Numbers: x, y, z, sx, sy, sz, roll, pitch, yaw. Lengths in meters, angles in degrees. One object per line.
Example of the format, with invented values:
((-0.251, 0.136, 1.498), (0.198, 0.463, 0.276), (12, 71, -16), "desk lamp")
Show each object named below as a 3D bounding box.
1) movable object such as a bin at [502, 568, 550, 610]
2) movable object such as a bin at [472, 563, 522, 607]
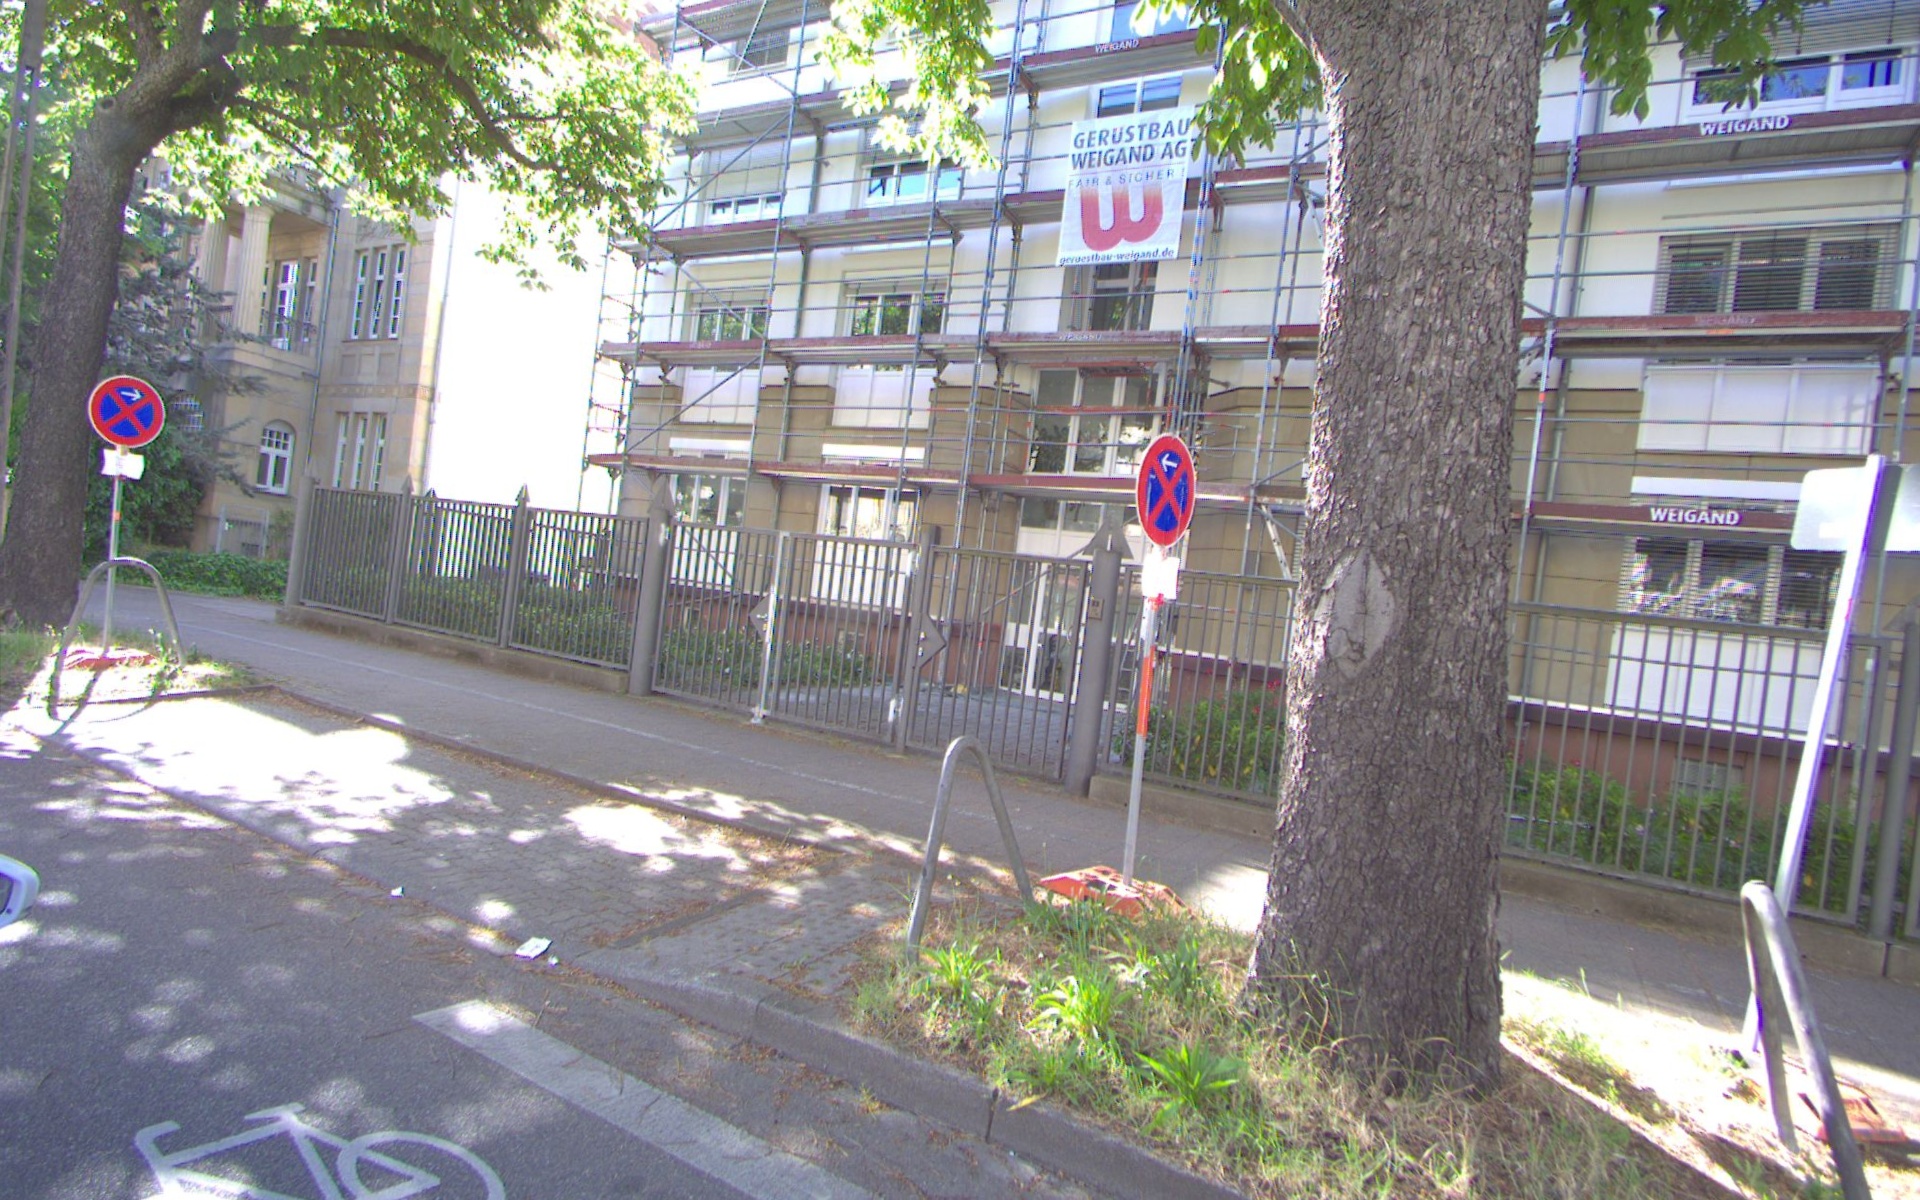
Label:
((-11.294, -0.283, 26.200), (0.637, 0.966, 0.835), (6, -2, 30), "movable object such as a bin")
((-11.716, -0.369, 25.443), (0.637, 0.966, 0.835), (6, -2, 30), "movable object such as a bin")
